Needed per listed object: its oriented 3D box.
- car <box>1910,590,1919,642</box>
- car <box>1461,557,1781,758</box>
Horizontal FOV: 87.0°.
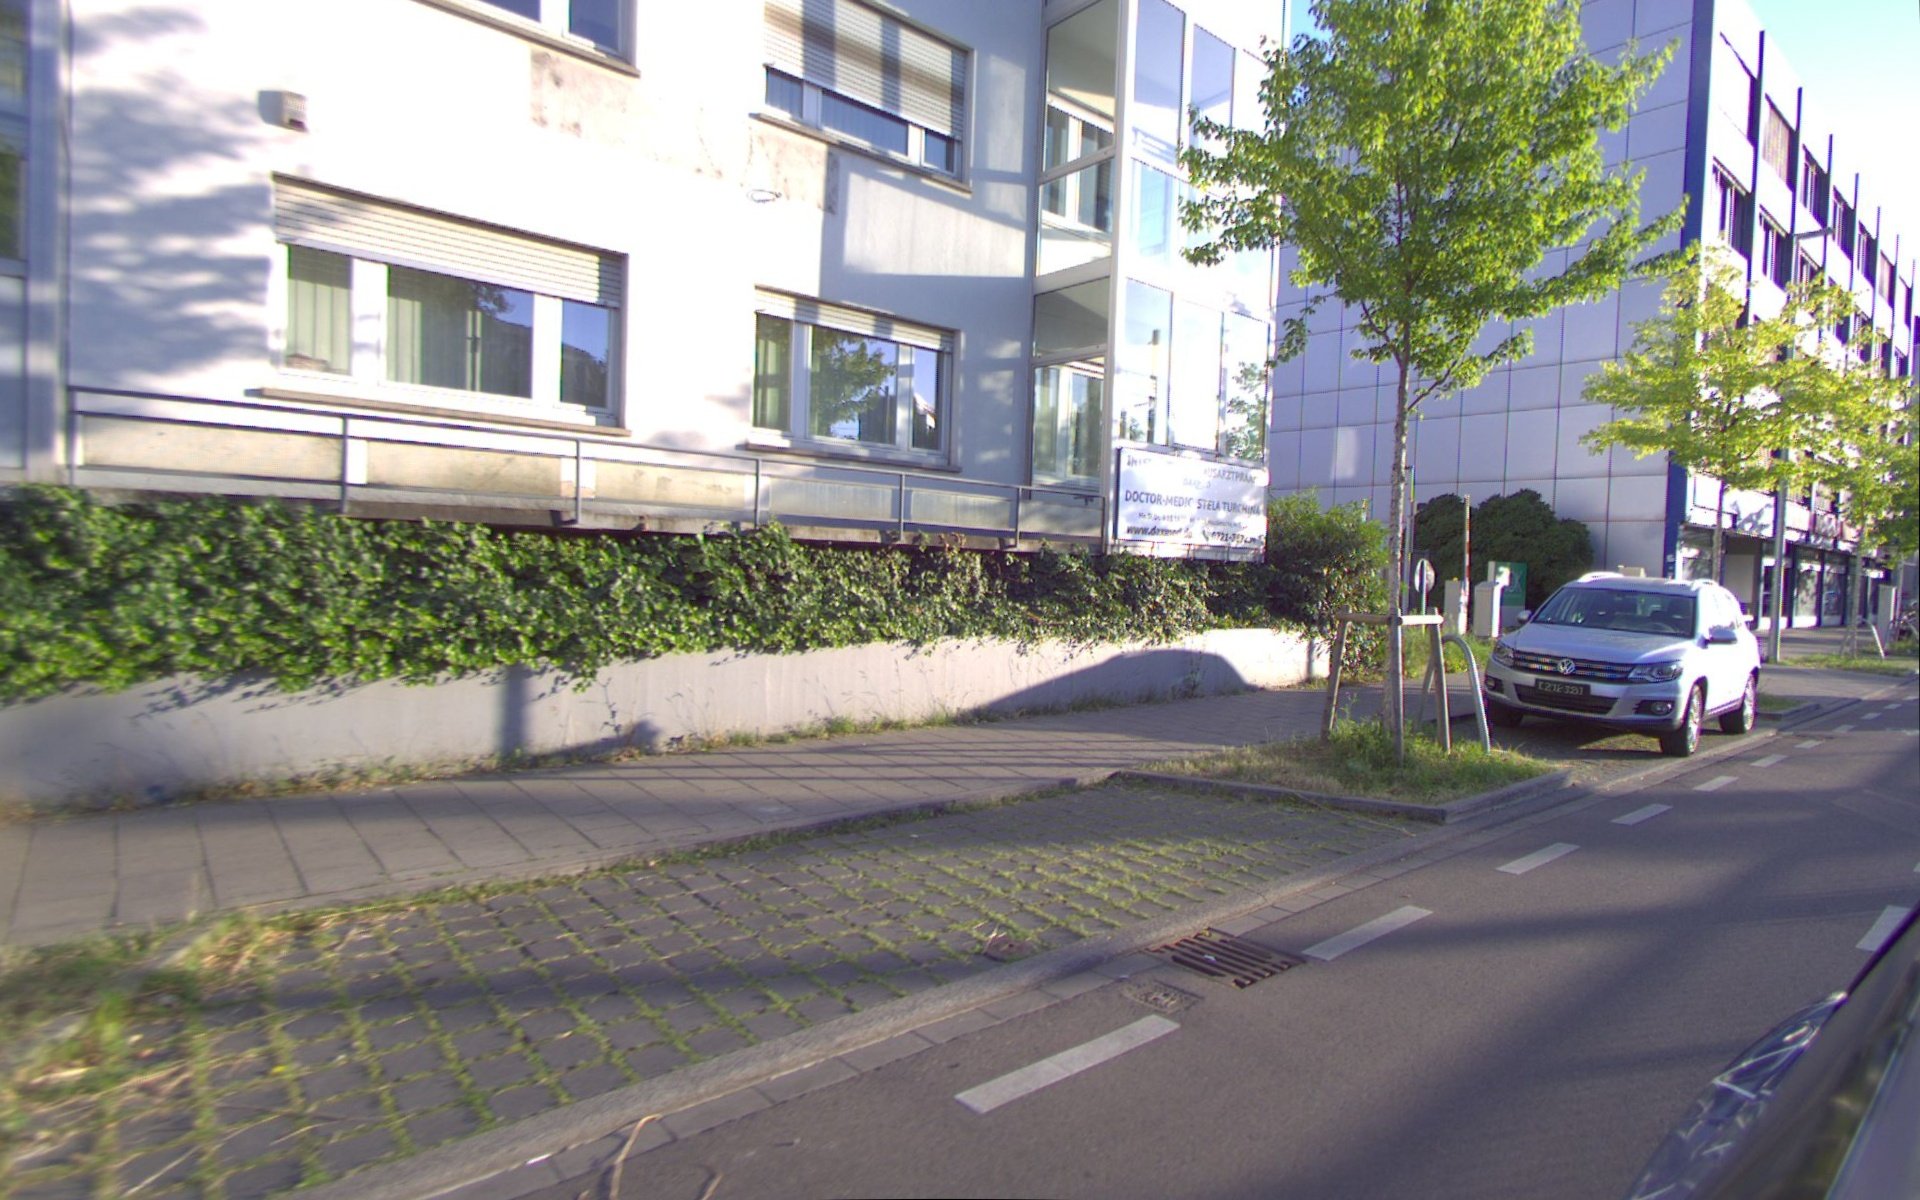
[{"bbox_3d":[29.135,0.492,29.553,4.061,1.472,1.821,0,3,-44],"label":"car"},{"bbox_3d":[7.229,0.476,10.891,4.181,1.728,1.857,0,2,-42],"label":"car"}]
